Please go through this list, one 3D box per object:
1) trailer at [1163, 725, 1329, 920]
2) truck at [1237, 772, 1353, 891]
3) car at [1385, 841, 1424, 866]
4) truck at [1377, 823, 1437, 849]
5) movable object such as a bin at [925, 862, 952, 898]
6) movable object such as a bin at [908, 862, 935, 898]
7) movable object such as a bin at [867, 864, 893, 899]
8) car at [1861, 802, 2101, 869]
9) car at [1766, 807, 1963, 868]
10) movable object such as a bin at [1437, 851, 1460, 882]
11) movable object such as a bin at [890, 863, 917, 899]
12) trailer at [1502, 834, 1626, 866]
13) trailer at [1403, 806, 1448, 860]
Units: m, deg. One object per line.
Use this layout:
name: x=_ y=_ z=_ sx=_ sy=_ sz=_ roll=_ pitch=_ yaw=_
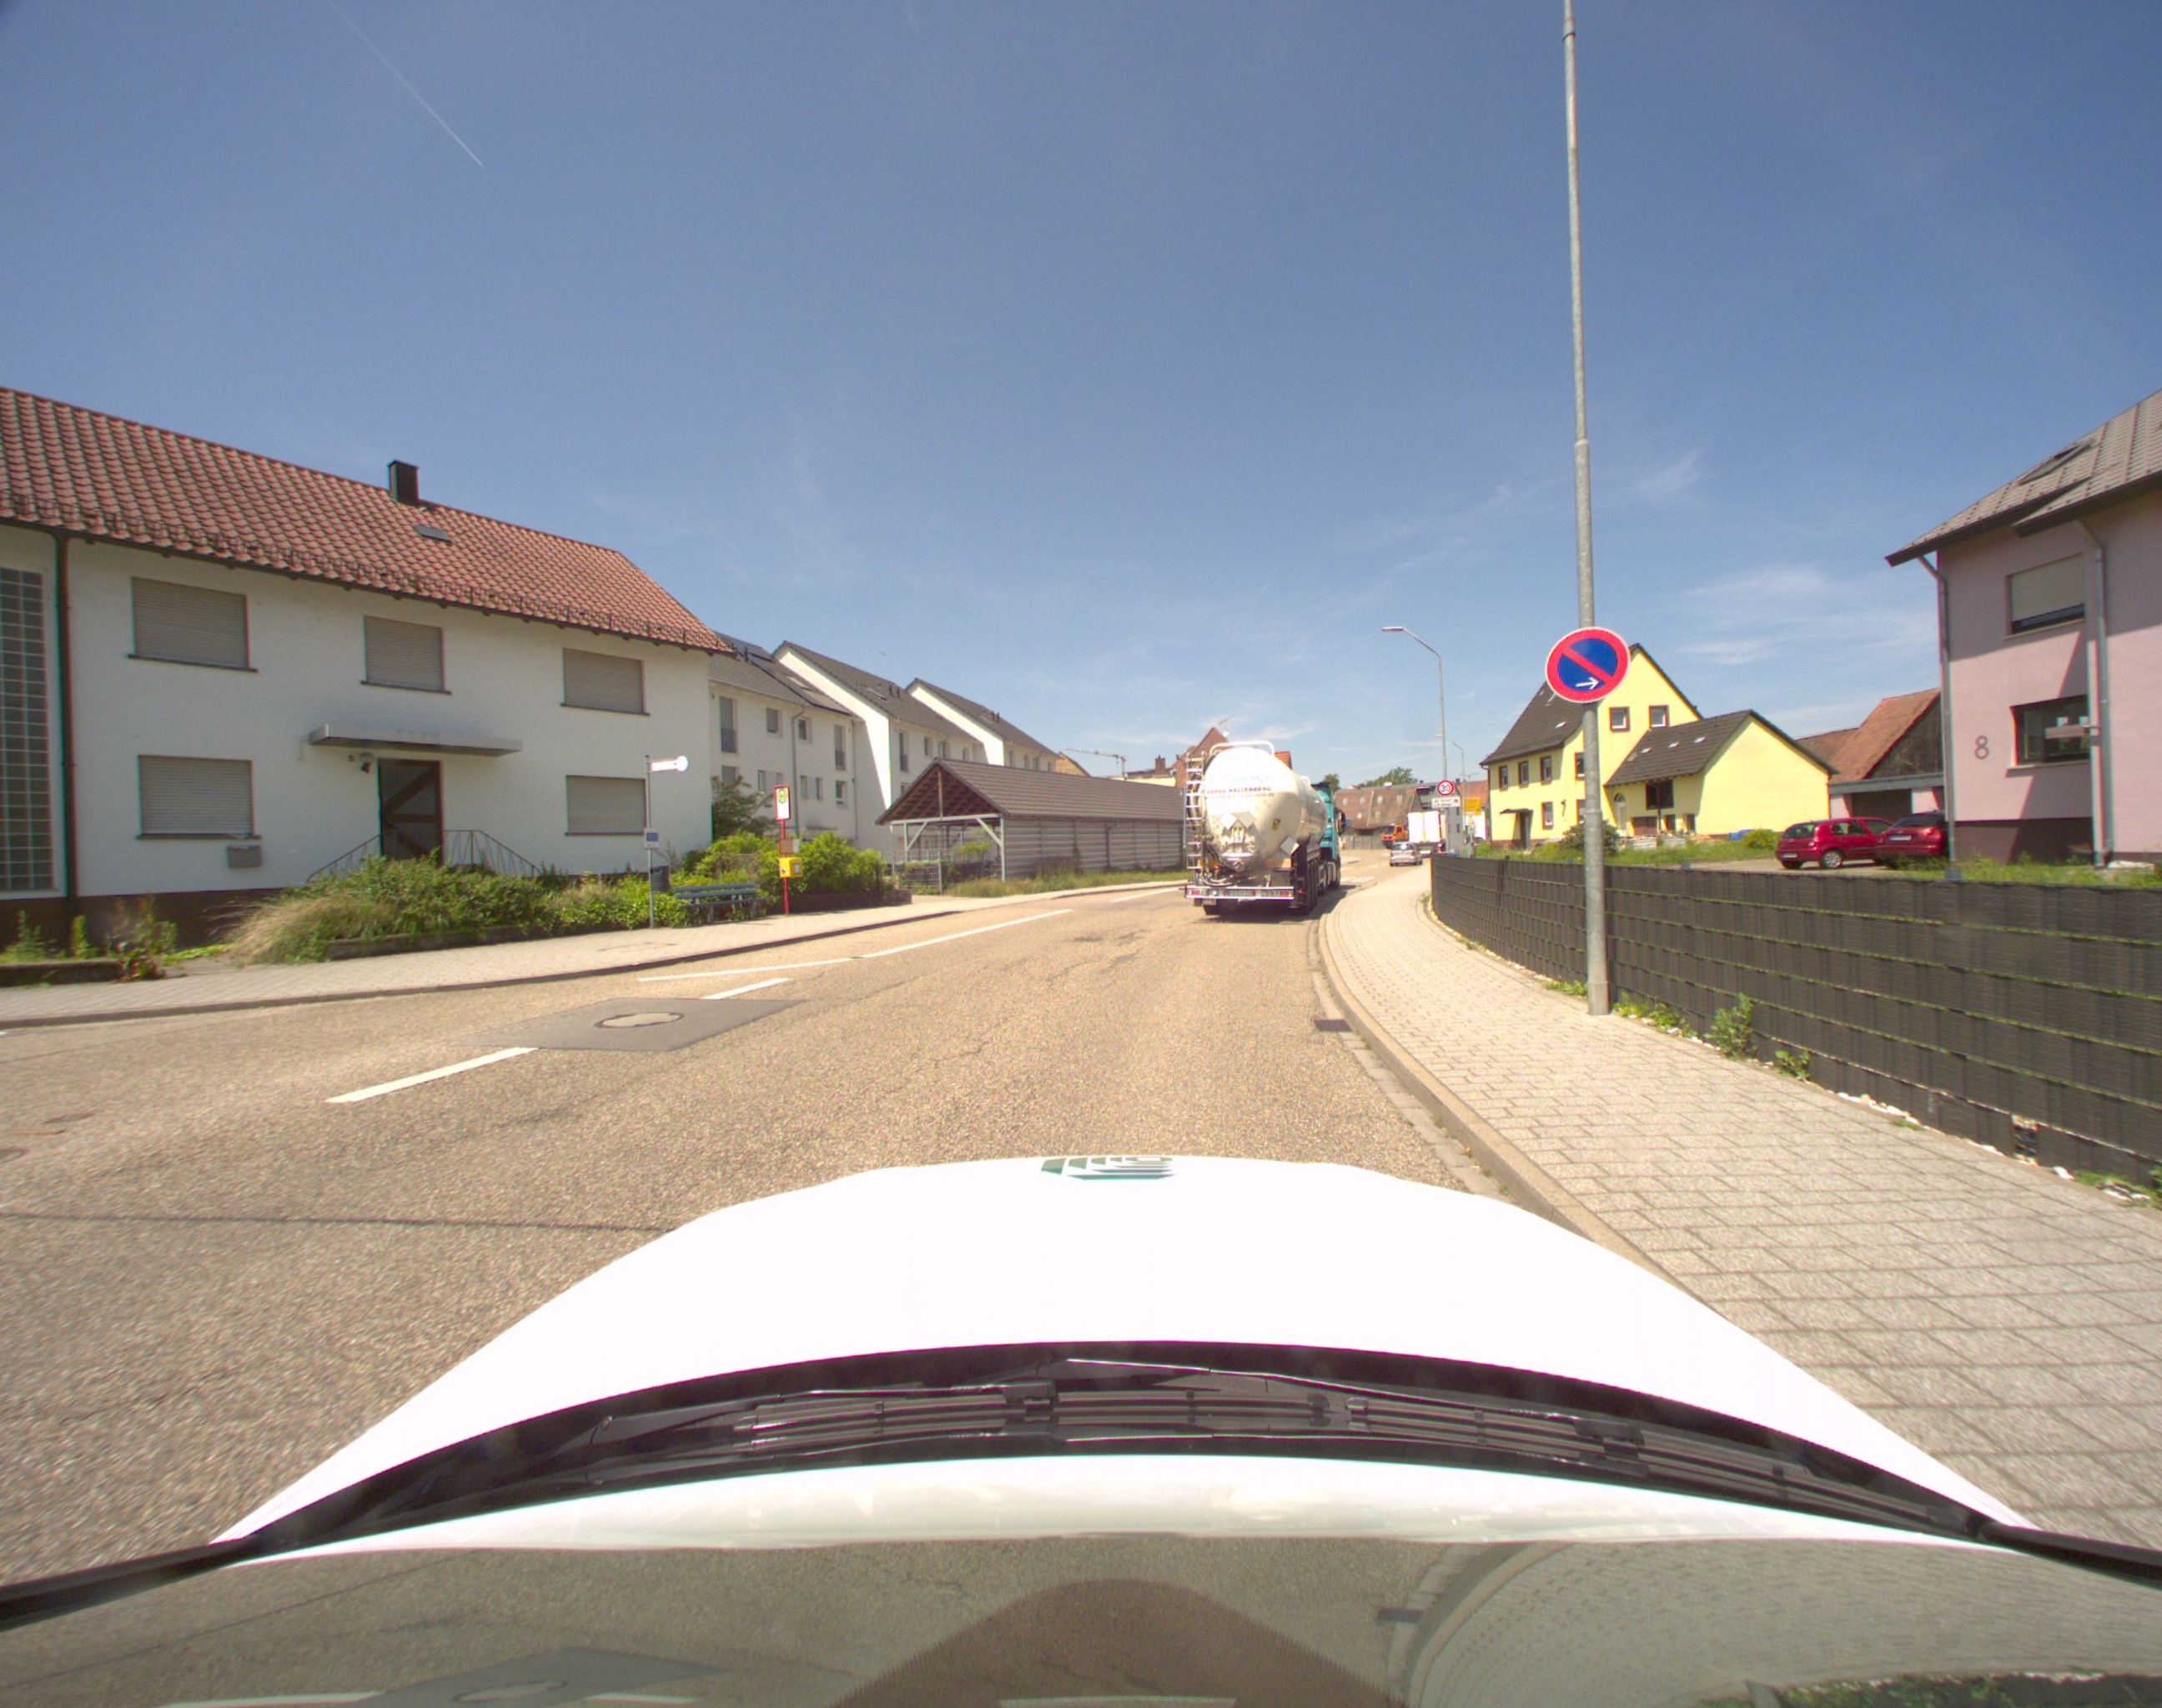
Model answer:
trailer: x=5.074 y=-0.642 z=22.471 sx=2.928 sy=3.948 sz=11.674 roll=-2 pitch=0 yaw=19
truck: x=8.062 y=-0.746 z=30.184 sx=2.960 sy=3.965 sz=5.612 roll=-2 pitch=0 yaw=27
car: x=20.667 y=-0.057 z=51.972 sx=1.825 sy=1.486 sz=4.024 roll=-2 pitch=0 yaw=28
truck: x=40.592 y=-2.205 z=101.273 sx=7.478 sy=3.181 sz=2.646 roll=0 pitch=-1 yaw=-27
movable object such as a bin: x=-5.118 y=0.928 z=29.289 sx=0.634 sy=1.278 sz=0.698 roll=-1 pitch=0 yaw=28
movable object such as a bin: x=-5.793 y=0.955 z=29.647 sx=0.634 sy=1.278 sz=0.698 roll=-1 pitch=0 yaw=28
movable object such as a bin: x=-7.498 y=1.016 z=30.403 sx=0.634 sy=1.278 sz=0.698 roll=-1 pitch=0 yaw=28
car: x=23.095 y=-0.467 z=21.030 sx=4.097 sy=1.548 sz=1.851 roll=-2 pitch=0 yaw=1
car: x=22.572 y=-0.449 z=23.584 sx=3.807 sy=1.486 sz=1.764 roll=-3 pitch=0 yaw=5
movable object such as a bin: x=12.937 y=0.440 z=28.684 sx=0.561 sy=1.057 sz=0.653 roll=-2 pitch=-1 yaw=13
movable object such as a bin: x=-6.525 y=0.982 z=29.972 sx=0.634 sy=1.278 sz=0.698 roll=-1 pitch=0 yaw=28
trailer: x=25.522 y=-0.208 z=43.167 sx=5.330 sy=1.546 sz=2.138 roll=-1 pitch=0 yaw=-1
trailer: x=30.452 y=-1.742 z=71.647 sx=3.103 sy=4.277 sz=12.567 roll=-2 pitch=0 yaw=25
